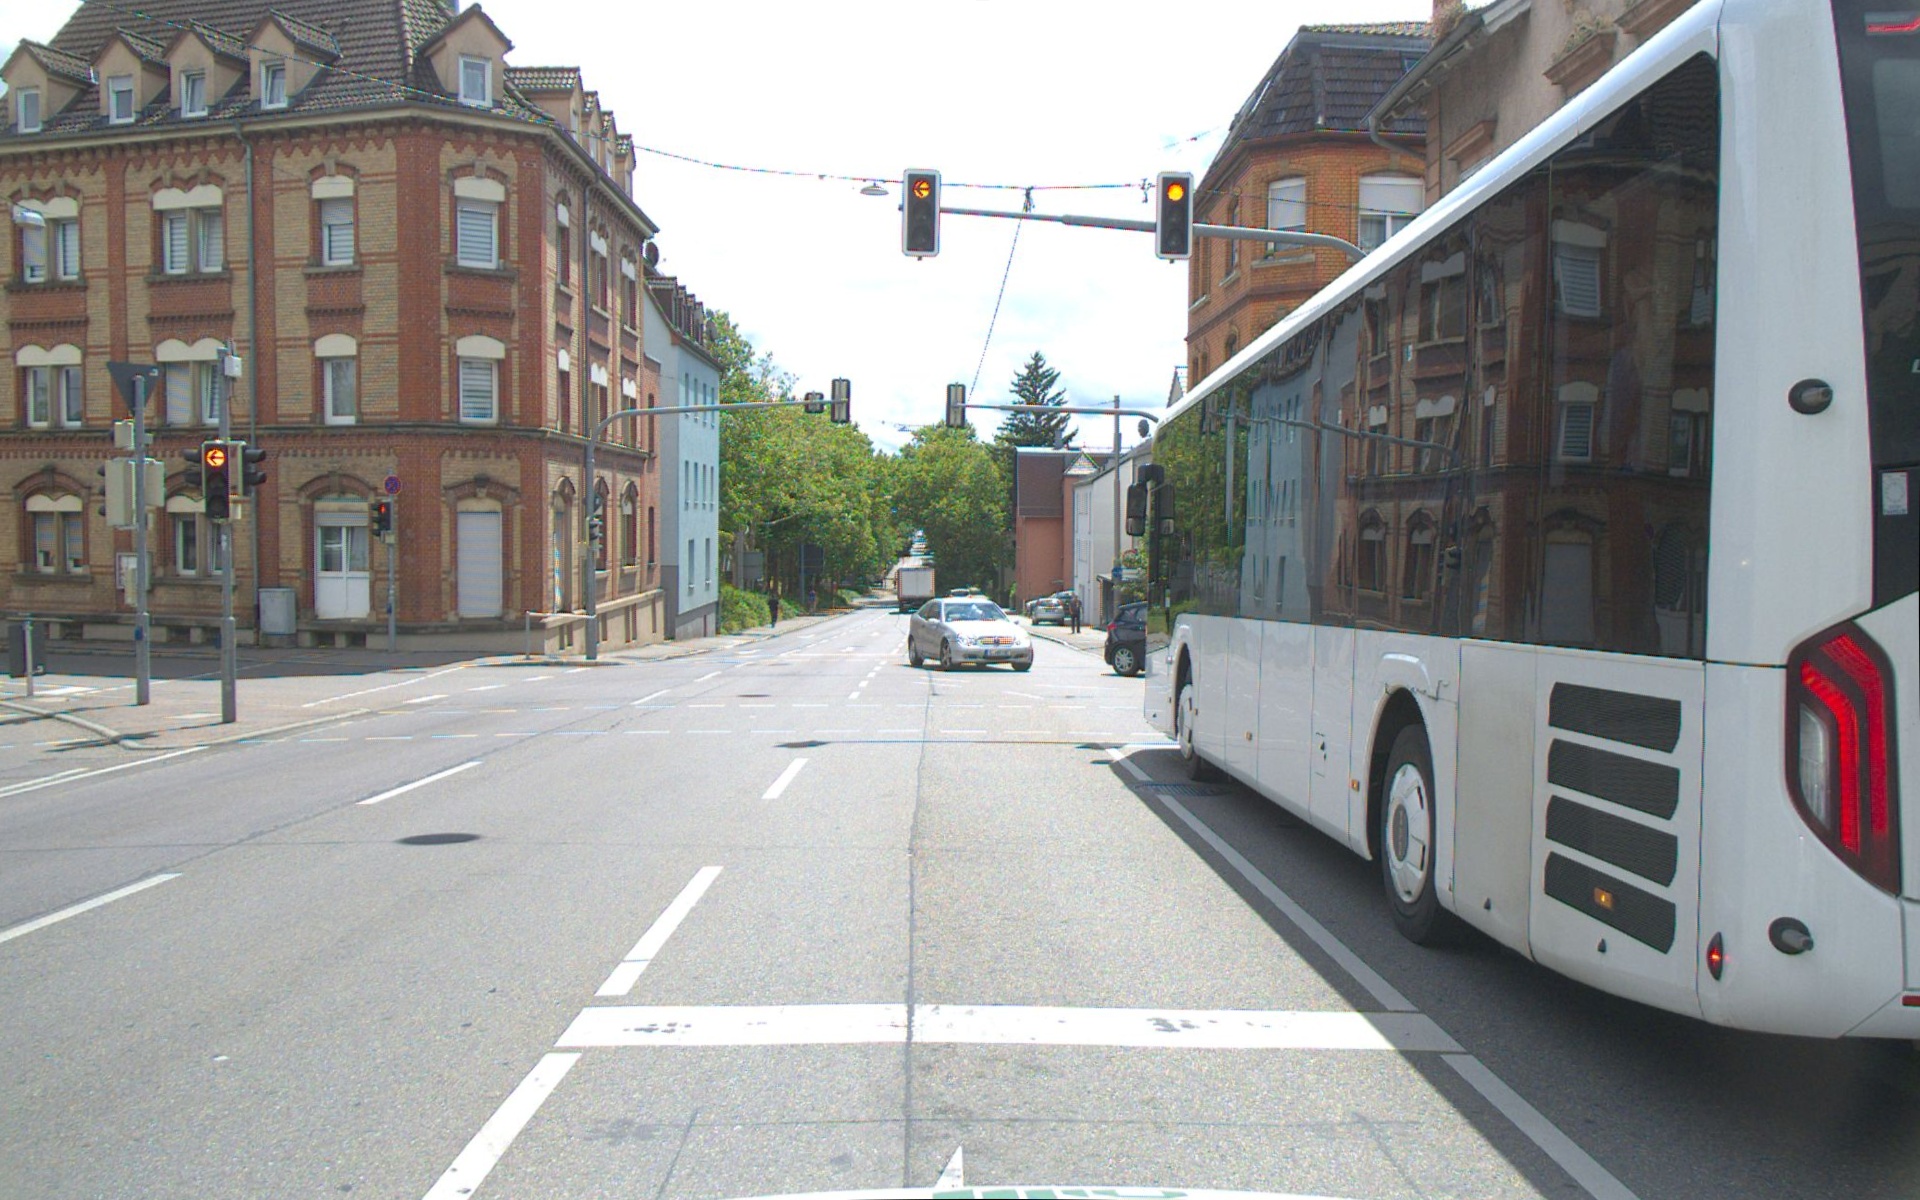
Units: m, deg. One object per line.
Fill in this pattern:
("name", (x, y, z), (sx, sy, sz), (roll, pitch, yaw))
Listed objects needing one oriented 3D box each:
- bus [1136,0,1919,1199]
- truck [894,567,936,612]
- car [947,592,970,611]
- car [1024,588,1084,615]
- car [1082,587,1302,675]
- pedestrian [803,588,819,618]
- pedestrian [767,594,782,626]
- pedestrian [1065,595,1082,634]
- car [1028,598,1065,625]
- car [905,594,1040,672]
("bus", (3.161, -0.121, 10.190), (2.618, 3.211, 12.460), (1, 0, -1))
("truck", (-3.389, -0.798, 122.870), (2.868, 3.135, 7.881), (-1, 1, -3))
("car", (-0.112, 0.127, 130.161), (1.758, 1.434, 3.999), (1, 0, -1))
("car", (6.472, 0.083, 114.160), (3.909, 1.788, 1.998), (-1, 0, -6))
("car", (4.350, 0.553, 31.054), (3.711, 1.543, 1.761), (0, 0, 30))
("pedestrian", (-9.986, 0.199, 110.655), (0.974, 2.049, 1.188), (0, 0, -1))
("pedestrian", (-9.347, 0.512, 83.484), (0.714, 1.592, 0.560), (0, 0, -2))
("pedestrian", (5.199, 0.654, 75.884), (0.723, 1.781, 0.619), (-1, 0, -1))
("car", (4.899, 0.637, 94.035), (1.758, 1.434, 3.999), (-1, 1, -2))
("car", (0.181, 0.613, 33.382), (1.671, 1.452, 3.983), (-1, 0, -16))
